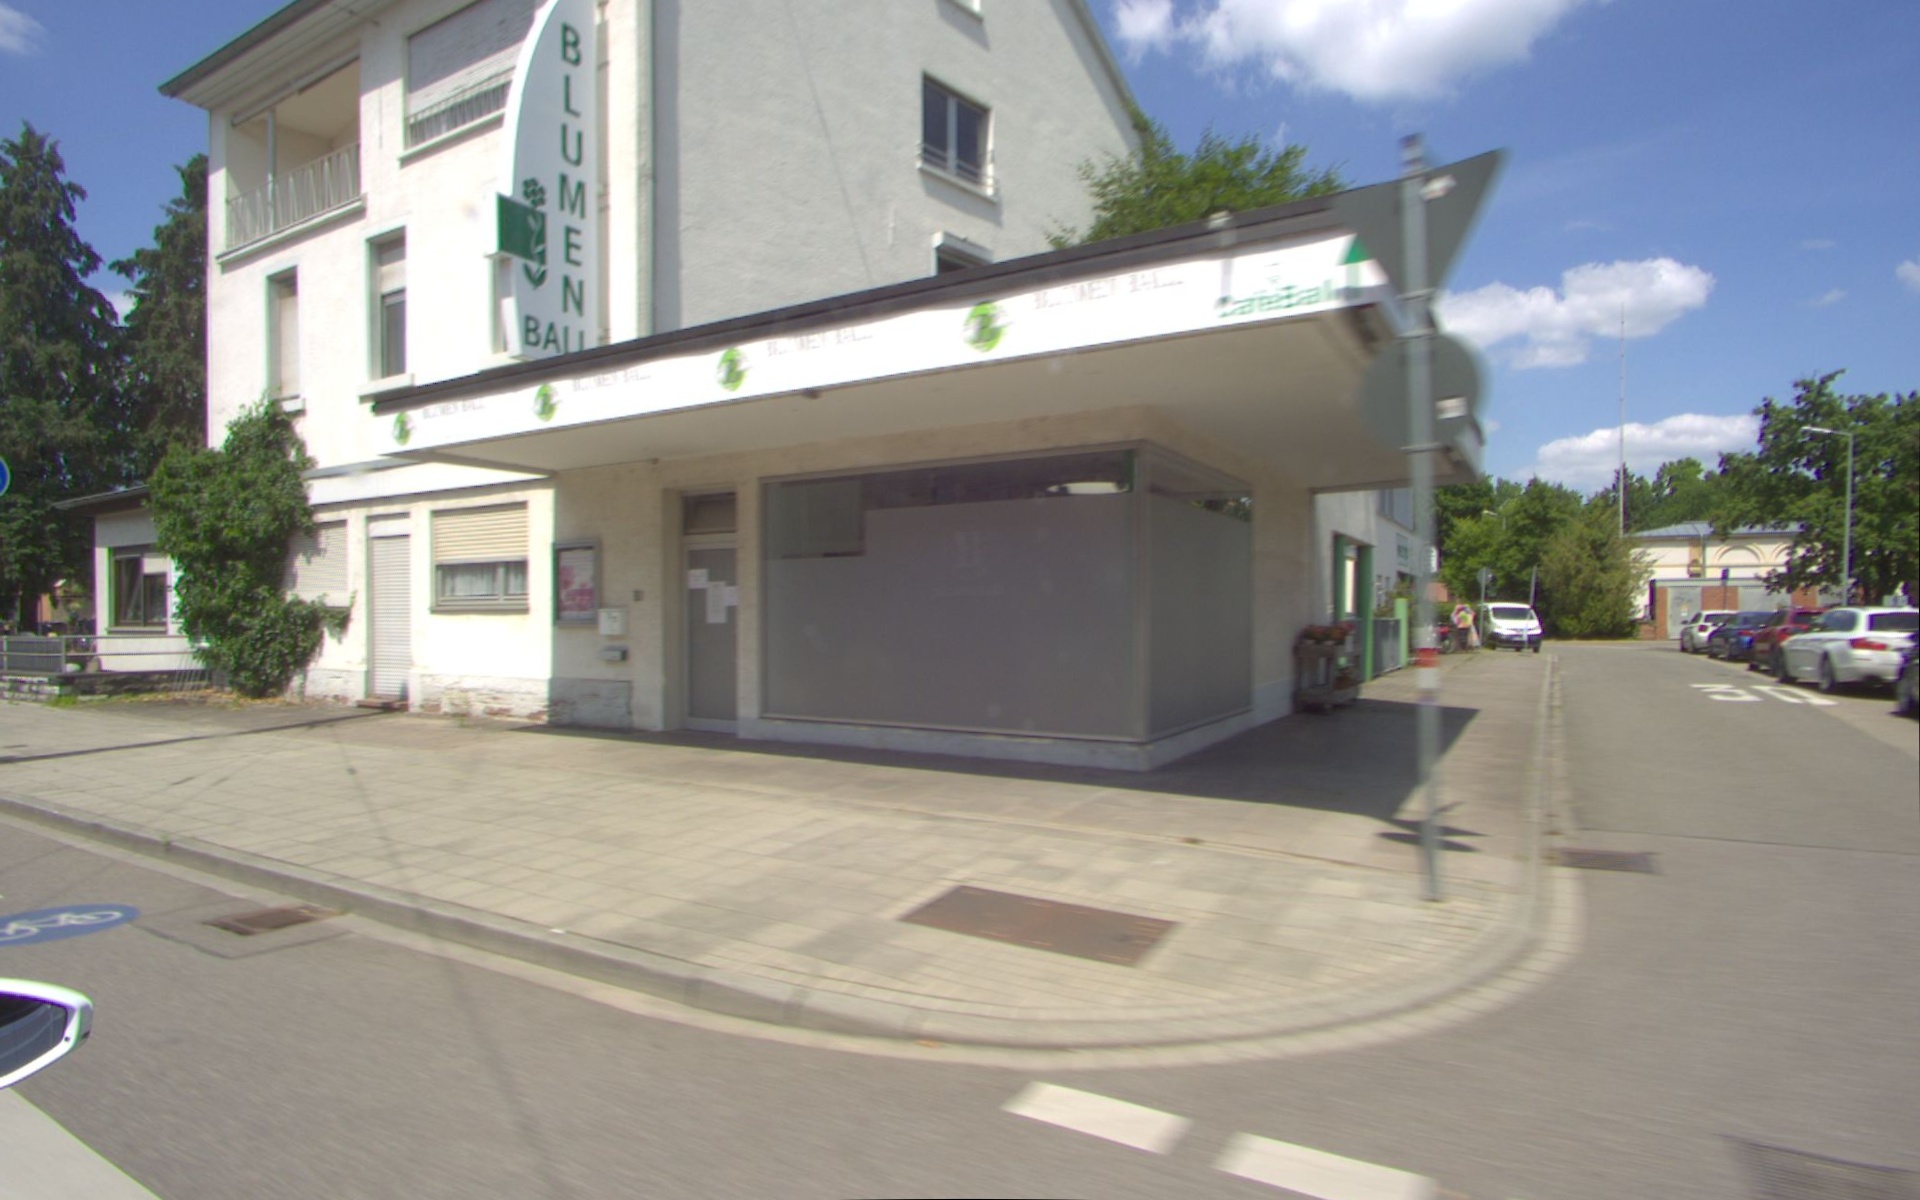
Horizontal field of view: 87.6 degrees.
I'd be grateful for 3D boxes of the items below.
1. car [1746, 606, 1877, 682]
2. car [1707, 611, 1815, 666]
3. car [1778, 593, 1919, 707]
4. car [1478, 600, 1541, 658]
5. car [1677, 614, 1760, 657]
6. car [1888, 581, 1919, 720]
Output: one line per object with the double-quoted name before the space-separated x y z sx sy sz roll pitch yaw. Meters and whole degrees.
"car" 18.419 0.900 21.816 1.599 1.426 3.789 -2 0 32
"car" 21.993 1.014 27.639 1.794 1.399 3.981 0 -1 31
"car" 15.509 0.765 17.125 1.792 1.655 4.193 -2 0 32
"car" 20.618 1.049 37.590 1.970 2.040 3.983 0 -1 29
"car" 24.837 1.126 32.919 1.623 1.335 3.983 0 -1 29
"car" 12.380 0.624 11.541 1.650 1.724 3.787 -2 0 30
